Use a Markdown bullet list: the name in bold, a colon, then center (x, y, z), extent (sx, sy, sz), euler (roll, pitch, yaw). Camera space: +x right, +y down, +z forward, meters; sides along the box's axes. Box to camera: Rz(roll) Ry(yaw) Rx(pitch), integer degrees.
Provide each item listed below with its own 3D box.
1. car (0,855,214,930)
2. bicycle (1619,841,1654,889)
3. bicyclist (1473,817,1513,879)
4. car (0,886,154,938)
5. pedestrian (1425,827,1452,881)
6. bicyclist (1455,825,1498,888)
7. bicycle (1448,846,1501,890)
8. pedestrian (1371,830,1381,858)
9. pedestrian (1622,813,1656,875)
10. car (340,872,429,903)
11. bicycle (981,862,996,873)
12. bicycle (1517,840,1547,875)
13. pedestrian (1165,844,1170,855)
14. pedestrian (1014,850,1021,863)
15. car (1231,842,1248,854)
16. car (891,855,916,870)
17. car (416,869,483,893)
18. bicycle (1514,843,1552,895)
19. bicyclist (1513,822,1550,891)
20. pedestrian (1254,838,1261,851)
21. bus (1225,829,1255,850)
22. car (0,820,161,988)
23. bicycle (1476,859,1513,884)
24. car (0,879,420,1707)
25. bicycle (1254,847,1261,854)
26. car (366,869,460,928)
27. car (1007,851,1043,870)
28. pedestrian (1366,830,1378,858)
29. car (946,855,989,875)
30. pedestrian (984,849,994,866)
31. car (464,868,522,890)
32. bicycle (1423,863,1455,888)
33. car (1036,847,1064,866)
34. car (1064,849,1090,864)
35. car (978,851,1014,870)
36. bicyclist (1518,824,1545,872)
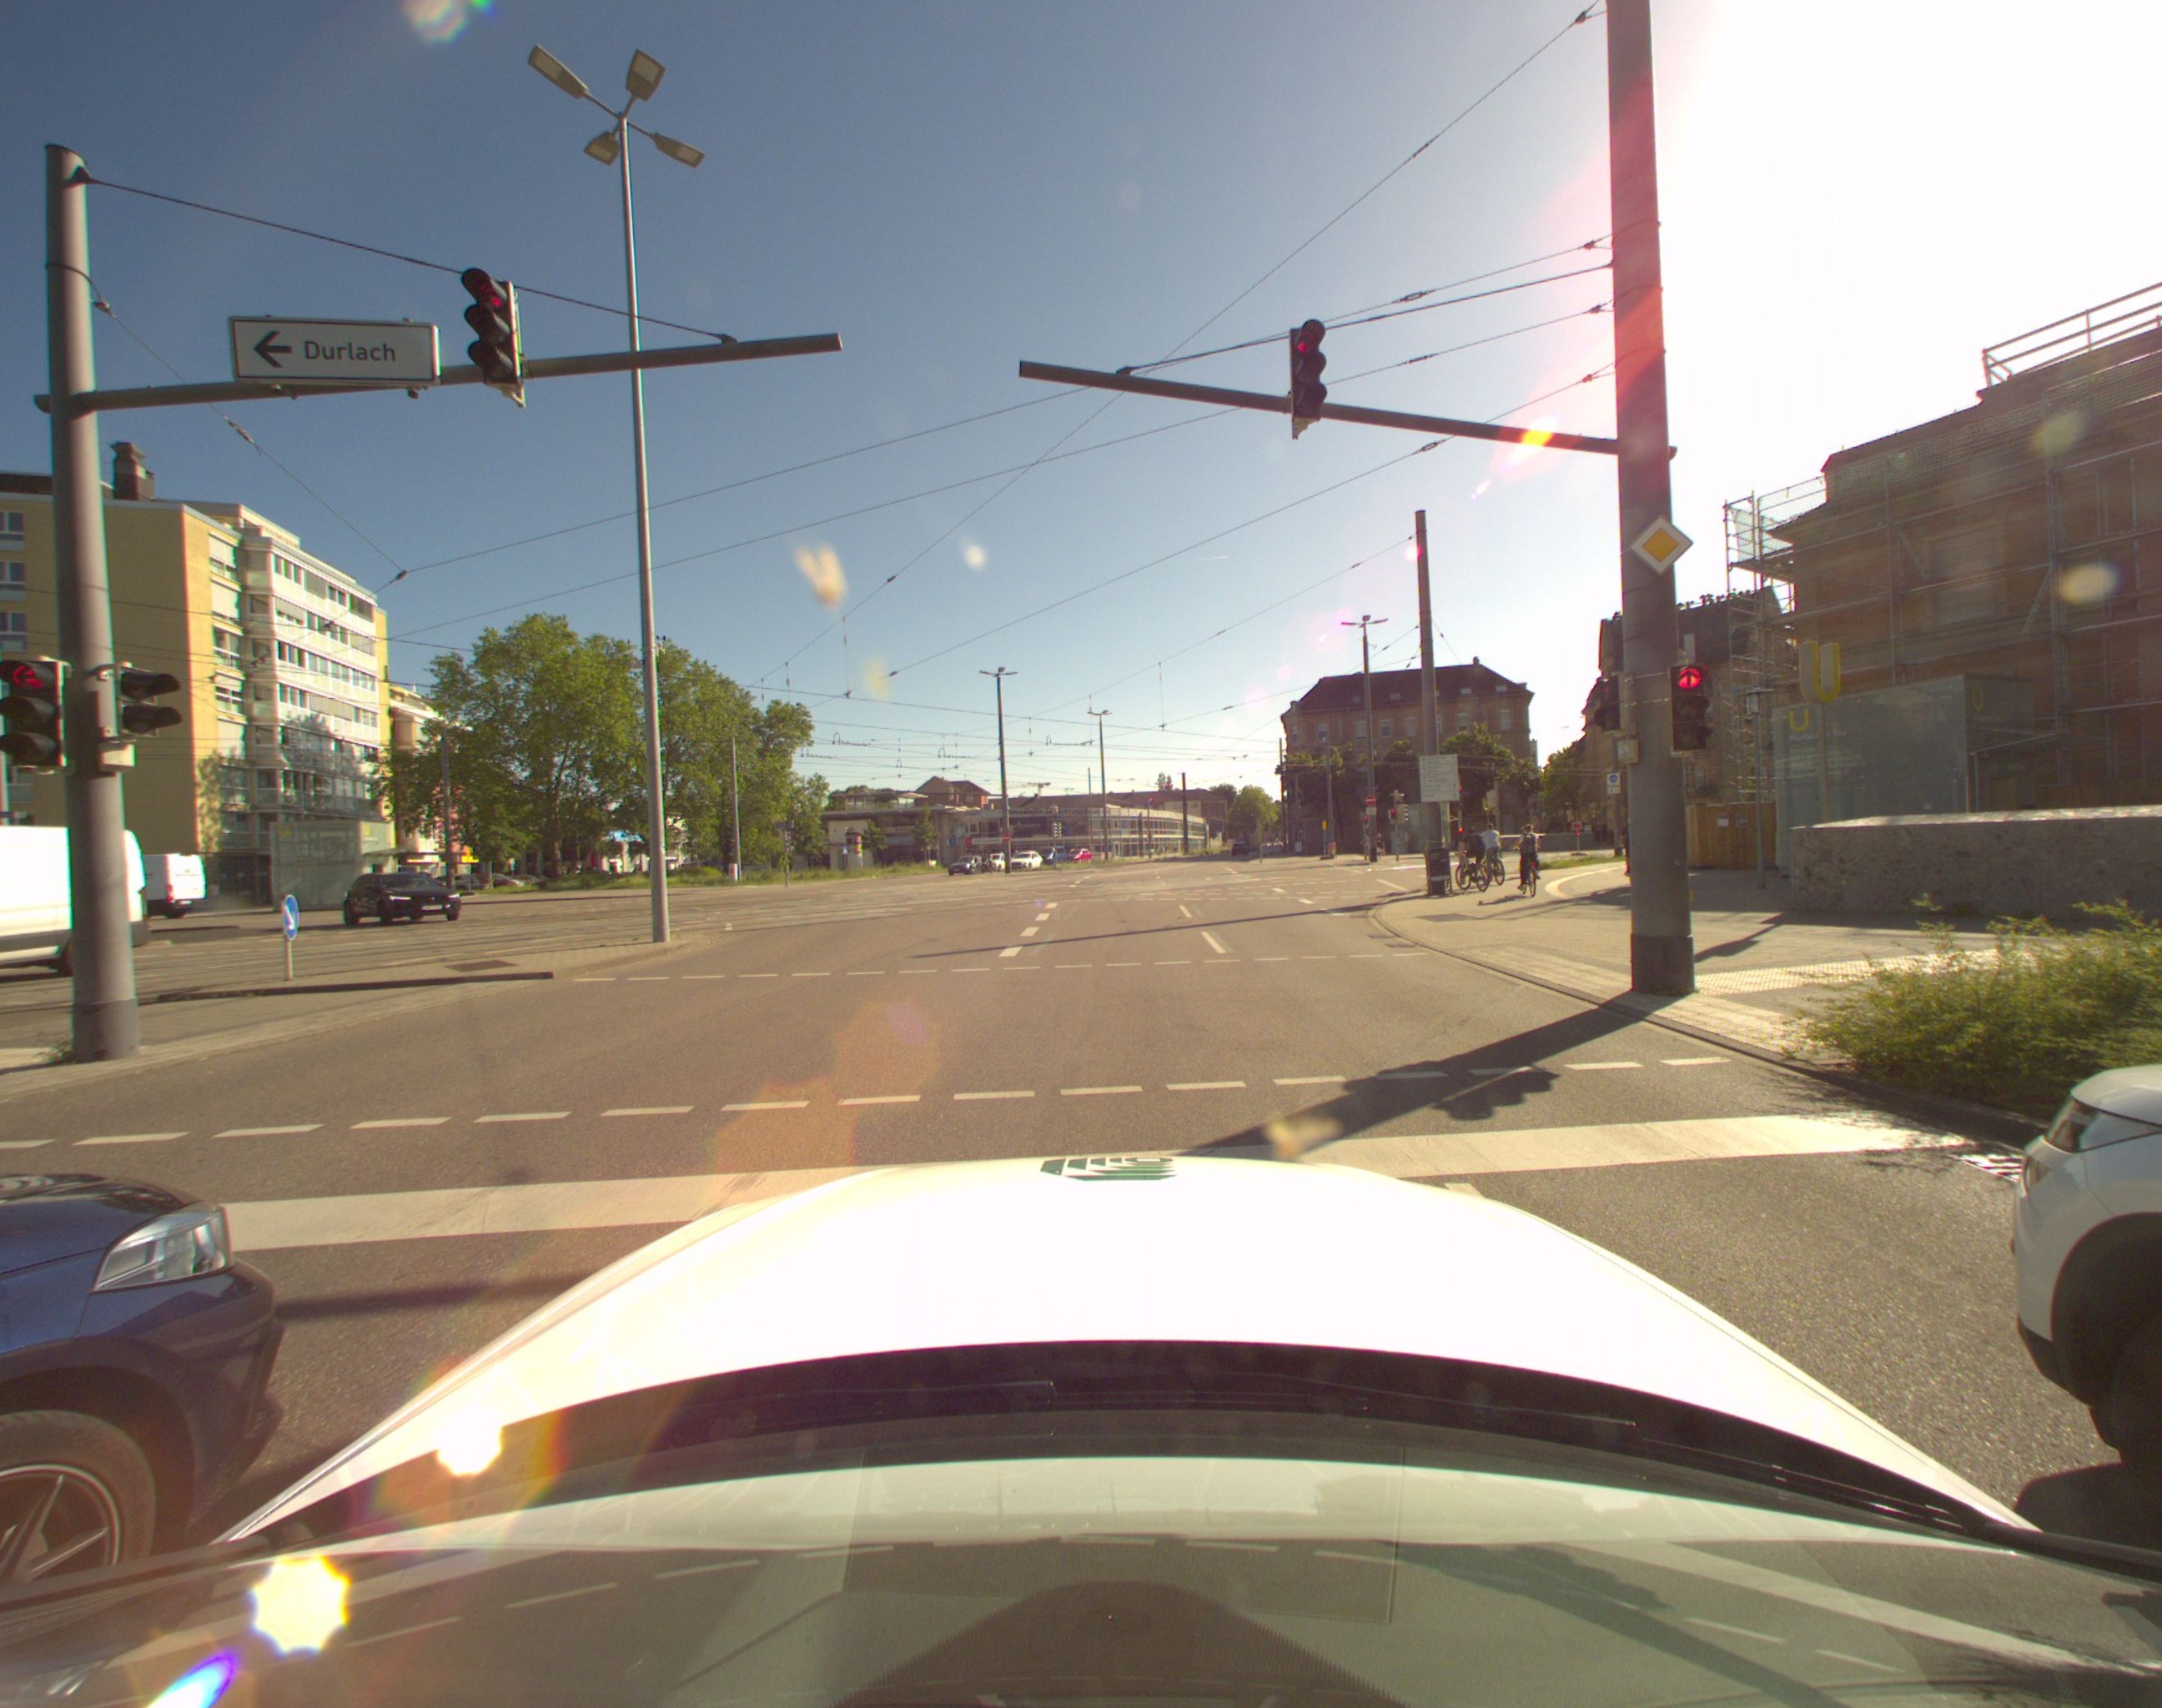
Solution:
- **car**: center (-41.014, 1.547, 34.184), extent (5.920, 2.744, 2.131), euler (-2, 0, -18)
- **bicycle**: center (13.256, 0.245, 19.454), extent (0.511, 1.044, 1.779), euler (-4, 0, 30)
- **bicyclist**: center (12.293, -0.167, 24.334), extent (0.742, 1.778, 0.926), euler (-3, 0, 9)
- **car**: center (-35.373, 1.985, 27.806), extent (4.562, 1.501, 1.855), euler (-2, 0, -16)
- **pedestrian**: center (10.810, -0.001, 24.649), extent (0.544, 1.562, 0.861), euler (-2, 0, 12)
- **bicyclist**: center (10.747, 0.072, 22.168), extent (0.622, 1.637, 0.996), euler (-5, 0, 5)
- **bicycle**: center (10.788, 0.370, 22.383), extent (0.622, 1.114, 1.853), euler (-5, 0, 5)
- **pedestrian**: center (21.872, -0.753, 60.392), extent (0.461, 2.013, 0.449), euler (-3, 0, -16)
- **pedestrian**: center (13.270, -0.243, 19.388), extent (0.511, 1.402, 0.968), euler (-4, 0, 30)
- **car**: center (-42.752, 2.024, 50.053), extent (3.742, 1.662, 1.585), euler (-2, 0, -18)
- **bicycle**: center (-6.894, 1.020, 60.640), extent (0.419, 0.718, 1.642), euler (-2, 0, 19)
- **bicycle**: center (15.287, 0.093, 27.644), extent (0.567, 1.125, 1.749), euler (-2, 0, 19)
- **pedestrian**: center (13.513, -0.689, 126.726), extent (0.538, 1.688, 0.633), euler (-2, 0, 20)
- **pedestrian**: center (-6.189, 0.264, 79.269), extent (0.419, 1.204, 0.684), euler (-2, 0, 20)
- **car**: center (20.190, -0.765, 103.556), extent (1.686, 1.503, 4.284), euler (-2, 0, 17)
- **car**: center (-21.864, 1.078, 100.597), extent (1.958, 1.706, 4.085), euler (-2, 0, 2)
- **car**: center (-49.713, 2.120, 64.182), extent (3.742, 1.662, 1.585), euler (-2, 0, -18)
- **bicycle**: center (10.749, 0.334, 19.412), extent (0.679, 1.163, 1.895), euler (-2, 0, 27)
- **bicyclist**: center (10.763, 0.052, 19.467), extent (0.679, 1.598, 0.983), euler (-2, 0, 27)
- **pedestrian**: center (22.370, -1.180, 103.128), extent (0.797, 1.632, 0.721), euler (-2, -2, 14)
- **bus**: center (31.765, -2.772, 161.742), extent (3.808, 3.607, 24.969), euler (-1, 0, 16)
- **car**: center (-17.102, 0.787, 11.766), extent (1.993, 2.508, 5.402), euler (-2, 0, -9)
- **bicycle**: center (12.368, 0.510, 24.401), extent (0.534, 0.655, 1.471), euler (-3, 0, 9)
- **car**: center (-2.668, 0.799, 0.135), extent (1.704, 1.445, 4.034), euler (-1, 0, 2)
- **bicycle**: center (22.327, -0.487, 102.740), extent (0.737, 0.870, 1.939), euler (-2, 0, 15)
- **car**: center (-21.689, 1.390, 26.399), extent (4.021, 1.659, 1.881), euler (-2, 0, 44)
- **car**: center (-4.467, 0.517, 65.226), extent (1.613, 1.382, 3.754), euler (-2, 0, 17)
- **pedestrian**: center (21.313, -0.716, 59.680), extent (0.574, 2.013, 0.449), euler (-3, 0, -16)
- **car**: center (-8.493, 0.783, 61.246), extent (1.689, 1.354, 3.719), euler (-2, 0, 19)
- **pedestrian**: center (-6.870, 0.278, 60.787), extent (0.419, 1.204, 0.753), euler (-2, 0, 19)
- **car**: center (-51.287, 2.148, 71.106), extent (3.742, 1.662, 1.585), euler (-2, 0, -18)
- **bicycle**: center (10.945, 0.632, 24.918), extent (0.533, 0.655, 1.732), euler (-5, 0, 13)
- **car**: center (-2.986, 0.240, 79.219), extent (1.613, 1.692, 3.702), euler (-2, 0, 17)
- **car**: center (-0.434, 0.246, 86.290), extent (1.613, 1.364, 3.703), euler (-2, 0, 18)
- **car**: center (-6.973, 0.554, 67.170), extent (1.613, 1.424, 3.702), euler (-2, 0, 17)
- **bicyclist**: center (15.253, -0.196, 27.584), extent (0.567, 1.568, 0.951), euler (-2, 0, 19)
